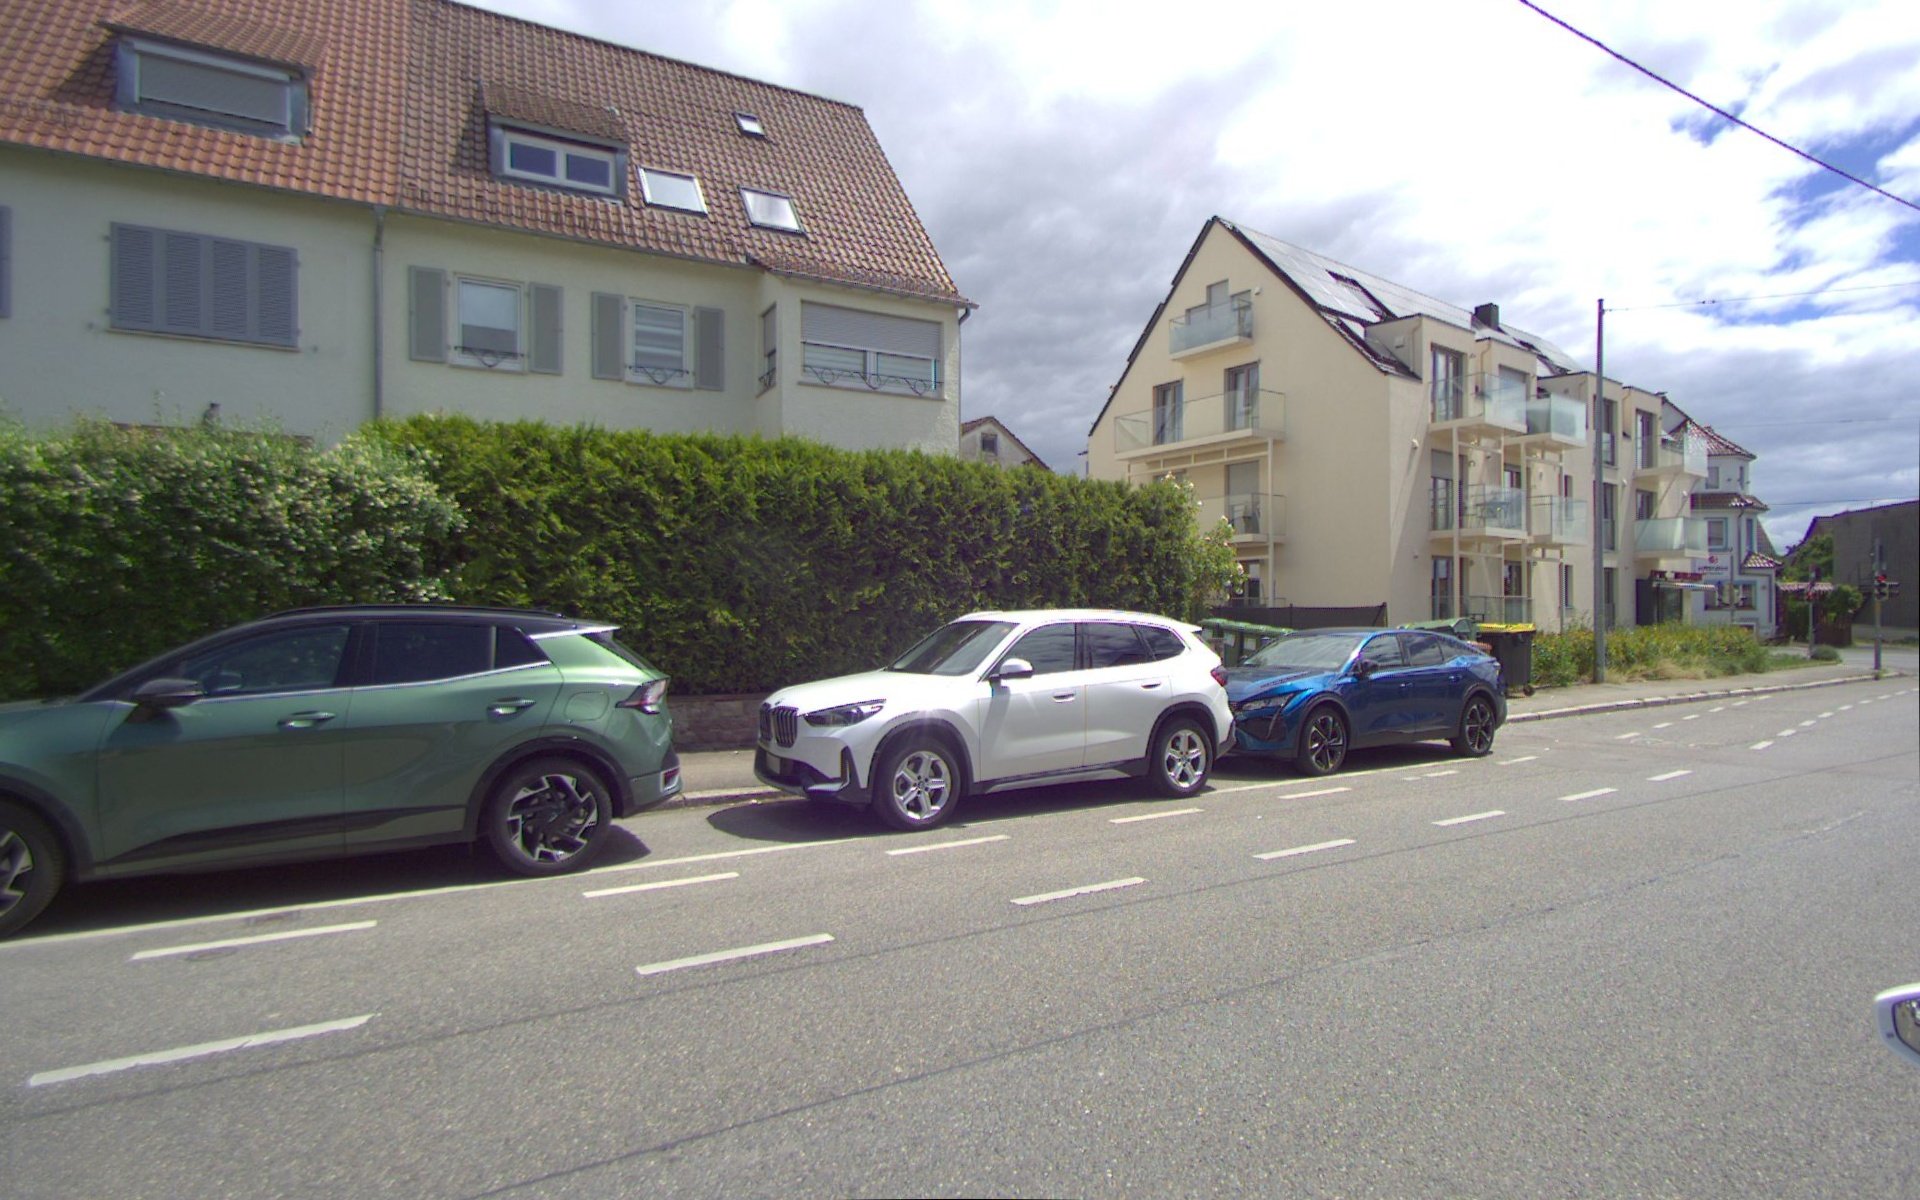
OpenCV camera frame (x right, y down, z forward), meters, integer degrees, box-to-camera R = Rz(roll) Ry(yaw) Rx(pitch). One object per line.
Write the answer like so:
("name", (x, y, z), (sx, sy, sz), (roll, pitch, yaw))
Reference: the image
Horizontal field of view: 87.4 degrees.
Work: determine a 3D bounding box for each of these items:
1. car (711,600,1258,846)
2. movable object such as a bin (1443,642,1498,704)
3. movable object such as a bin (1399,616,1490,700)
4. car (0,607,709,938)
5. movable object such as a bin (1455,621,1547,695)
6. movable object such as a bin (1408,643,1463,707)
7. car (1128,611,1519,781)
("car", (0.298, 0.890, 8.846), (4.465, 1.672, 1.984), (1, -1, -31))
("movable object such as a bin", (8.782, 1.247, 17.290), (0.651, 1.020, 0.593), (1, -1, -30))
("movable object such as a bin", (8.985, 1.047, 18.651), (1.201, 1.502, 1.059), (1, -1, -32))
("car", (-4.113, 0.859, 6.220), (4.632, 1.584, 1.985), (1, -1, -29))
("movable object such as a bin", (10.213, 1.071, 18.988), (1.199, 1.330, 1.060), (1, -1, -29))
("movable object such as a bin", (8.111, 1.262, 17.129), (0.651, 1.038, 0.593), (1, -1, -30))
("car", (4.265, 0.963, 11.589), (4.440, 1.608, 1.982), (1, -1, -33))
